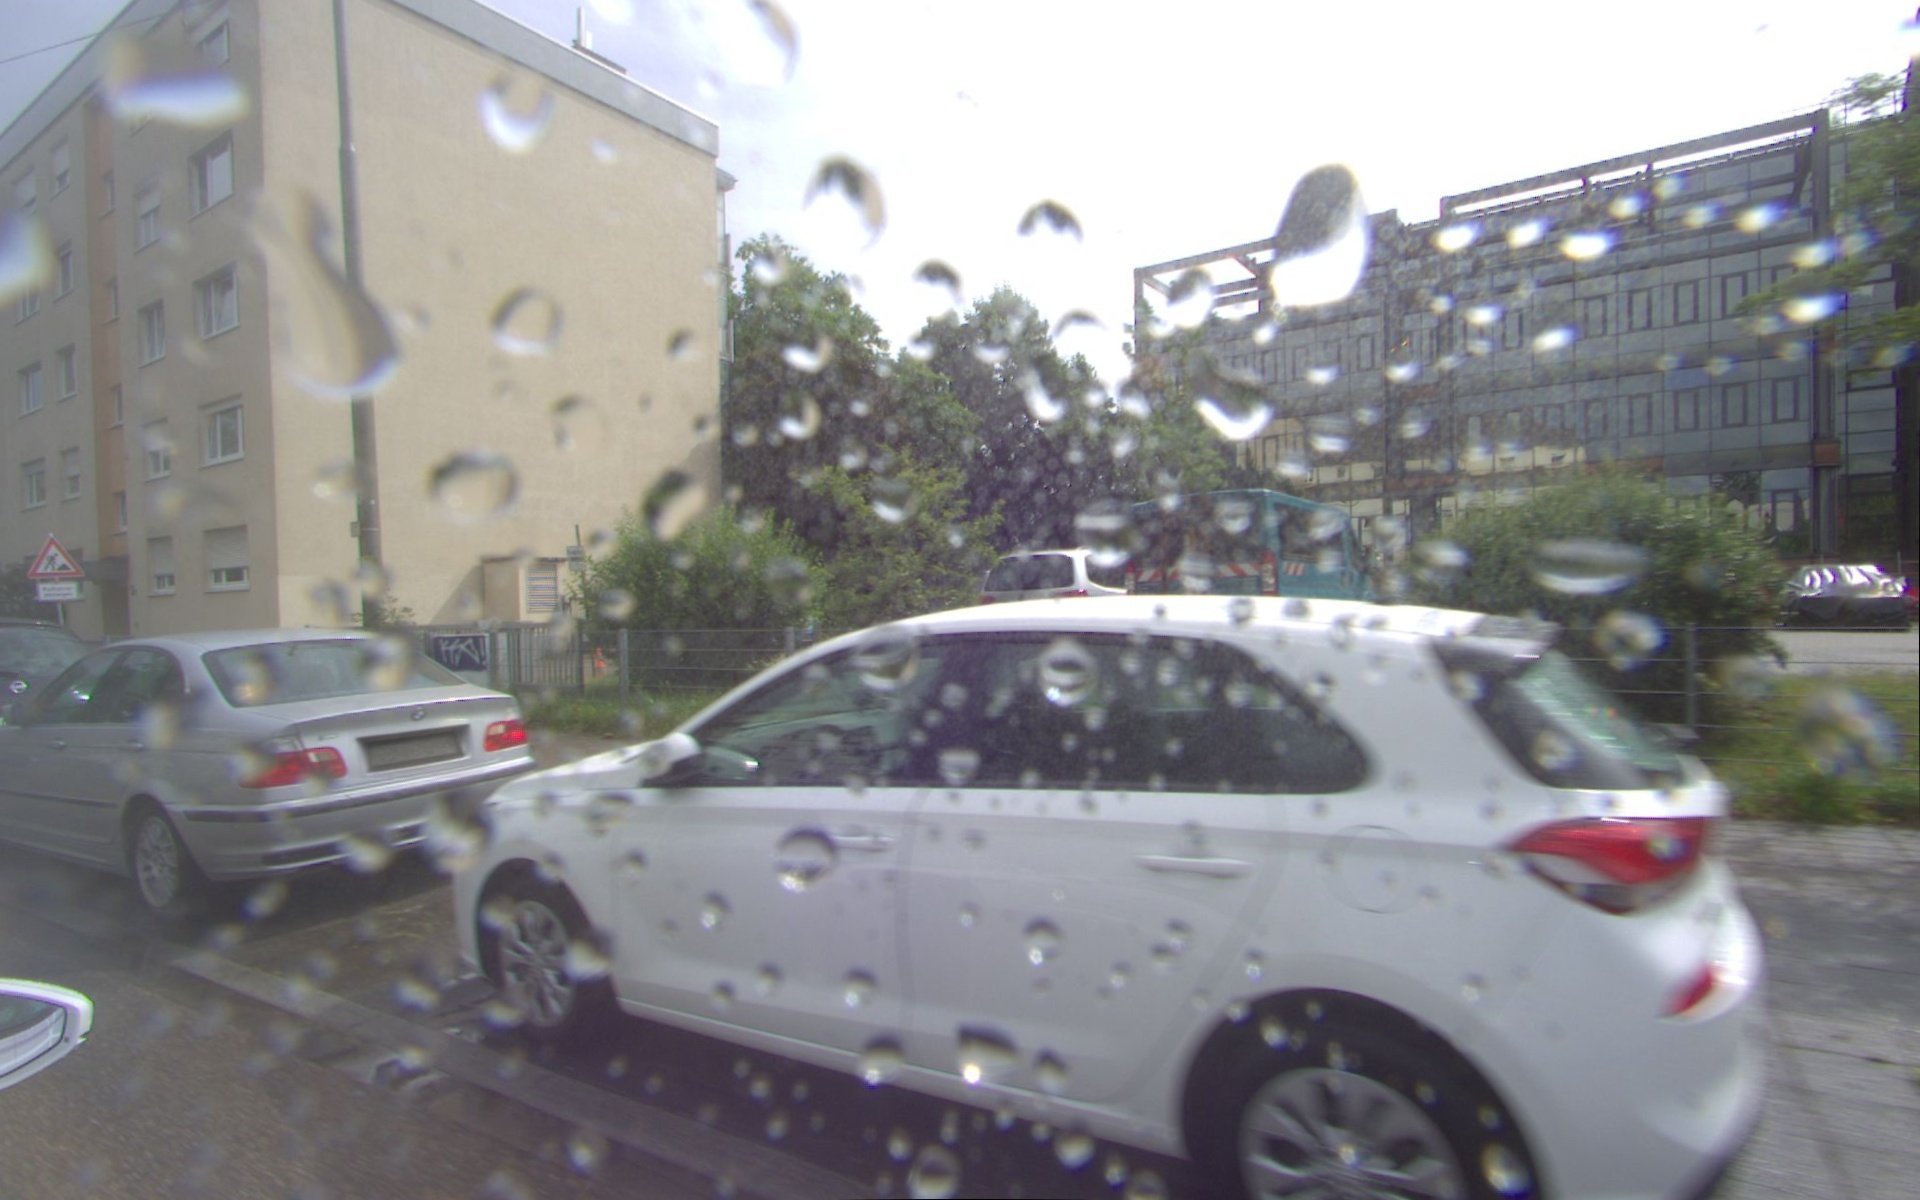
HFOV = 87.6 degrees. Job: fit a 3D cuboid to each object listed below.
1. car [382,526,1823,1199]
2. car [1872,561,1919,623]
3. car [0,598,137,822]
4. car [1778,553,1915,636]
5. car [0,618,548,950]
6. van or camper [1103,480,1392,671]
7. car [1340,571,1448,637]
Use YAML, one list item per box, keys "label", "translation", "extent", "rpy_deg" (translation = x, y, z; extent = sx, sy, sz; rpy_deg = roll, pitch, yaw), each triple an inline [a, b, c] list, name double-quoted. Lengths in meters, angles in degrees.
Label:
- label: "car"
  translation: [0.067, 0.710, 3.393]
  extent: [4.052, 1.527, 1.746]
  rpy_deg: [-2, -1, 31]
- label: "car"
  translation: [26.159, -0.191, 26.981]
  extent: [1.662, 1.538, 3.492]
  rpy_deg: [-2, -3, 32]
- label: "car"
  translation: [-8.900, 0.845, 8.561]
  extent: [3.972, 1.683, 1.603]
  rpy_deg: [-1, -1, 30]
- label: "car"
  translation: [17.555, -0.121, 19.996]
  extent: [1.651, 1.485, 3.960]
  rpy_deg: [-1, 1, 36]
- label: "car"
  translation: [-4.680, 0.876, 6.256]
  extent: [4.196, 1.471, 1.714]
  rpy_deg: [-1, -1, 30]
- label: "van or camper"
  translation: [4.176, -0.280, 13.954]
  extent: [2.292, 2.160, 4.740]
  rpy_deg: [0, 0, 38]
- label: "car"
  translation: [10.791, 0.079, 24.794]
  extent: [1.619, 1.506, 3.652]
  rpy_deg: [-1, 1, 37]
